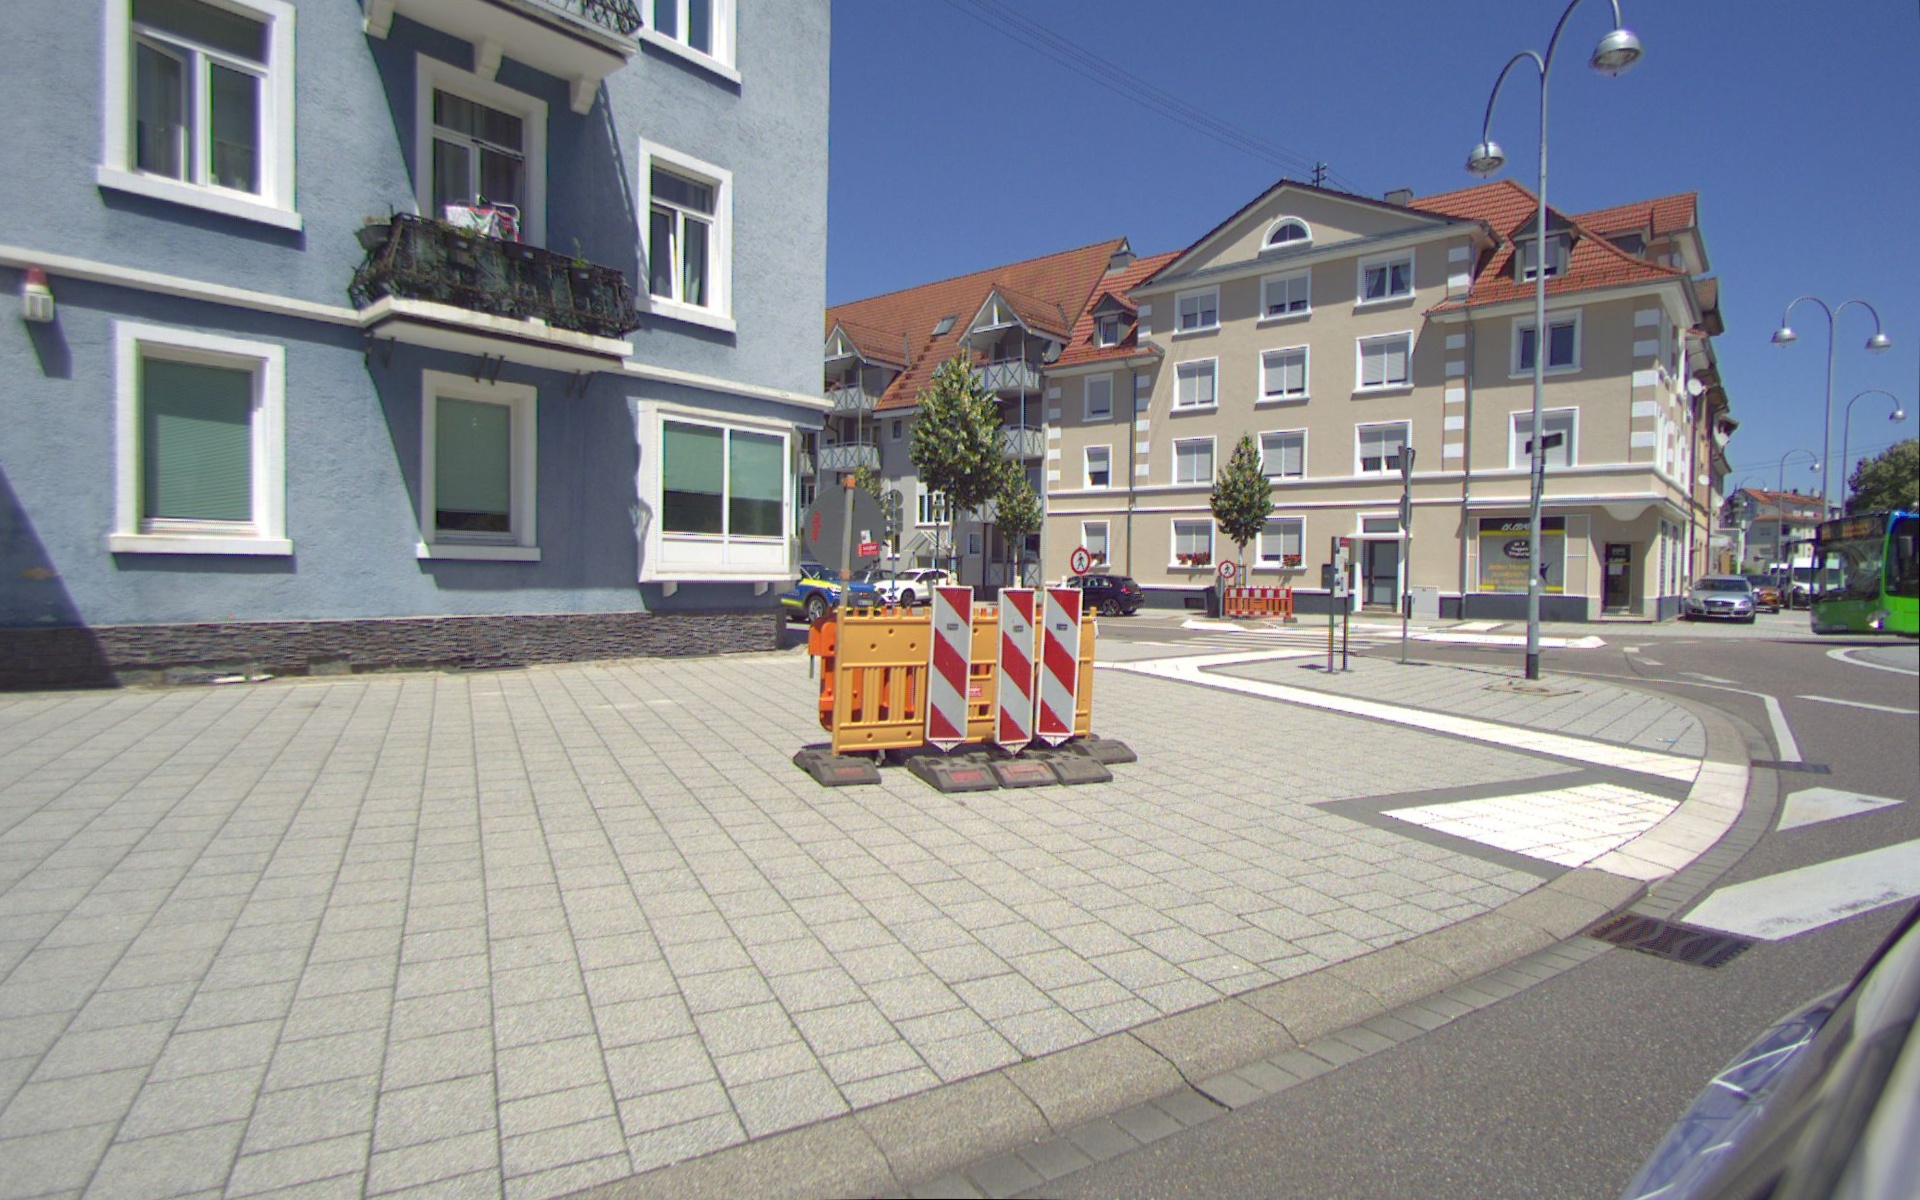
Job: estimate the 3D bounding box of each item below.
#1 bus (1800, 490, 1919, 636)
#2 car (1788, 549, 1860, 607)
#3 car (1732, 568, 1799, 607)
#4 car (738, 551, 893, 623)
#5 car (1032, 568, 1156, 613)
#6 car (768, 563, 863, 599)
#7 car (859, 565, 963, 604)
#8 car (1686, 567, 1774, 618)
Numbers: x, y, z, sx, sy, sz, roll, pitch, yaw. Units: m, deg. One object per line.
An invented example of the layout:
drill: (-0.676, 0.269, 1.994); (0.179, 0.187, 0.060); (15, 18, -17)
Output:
bus: (26.234, -0.742, 22.024); (12.360, 3.119, 2.904); (1, 0, 10)
car: (40.650, -1.048, 47.583); (2.334, 2.486, 5.648); (5, 4, 42)
car: (32.872, -0.527, 41.260); (1.821, 1.427, 3.939); (5, 4, 42)
car: (-3.810, -0.360, 26.214); (4.234, 1.720, 1.735); (2, 1, 44)
car: (4.725, -0.385, 35.896); (3.971, 1.463, 1.877); (1, 3, 33)
car: (-6.586, -0.918, 46.544); (1.756, 1.548, 4.183); (2, 3, 43)
car: (-1.965, -0.681, 41.552); (1.804, 1.463, 4.183); (2, 3, 43)
car: (24.759, -0.292, 32.497); (1.821, 1.427, 3.940); (5, 5, 42)
